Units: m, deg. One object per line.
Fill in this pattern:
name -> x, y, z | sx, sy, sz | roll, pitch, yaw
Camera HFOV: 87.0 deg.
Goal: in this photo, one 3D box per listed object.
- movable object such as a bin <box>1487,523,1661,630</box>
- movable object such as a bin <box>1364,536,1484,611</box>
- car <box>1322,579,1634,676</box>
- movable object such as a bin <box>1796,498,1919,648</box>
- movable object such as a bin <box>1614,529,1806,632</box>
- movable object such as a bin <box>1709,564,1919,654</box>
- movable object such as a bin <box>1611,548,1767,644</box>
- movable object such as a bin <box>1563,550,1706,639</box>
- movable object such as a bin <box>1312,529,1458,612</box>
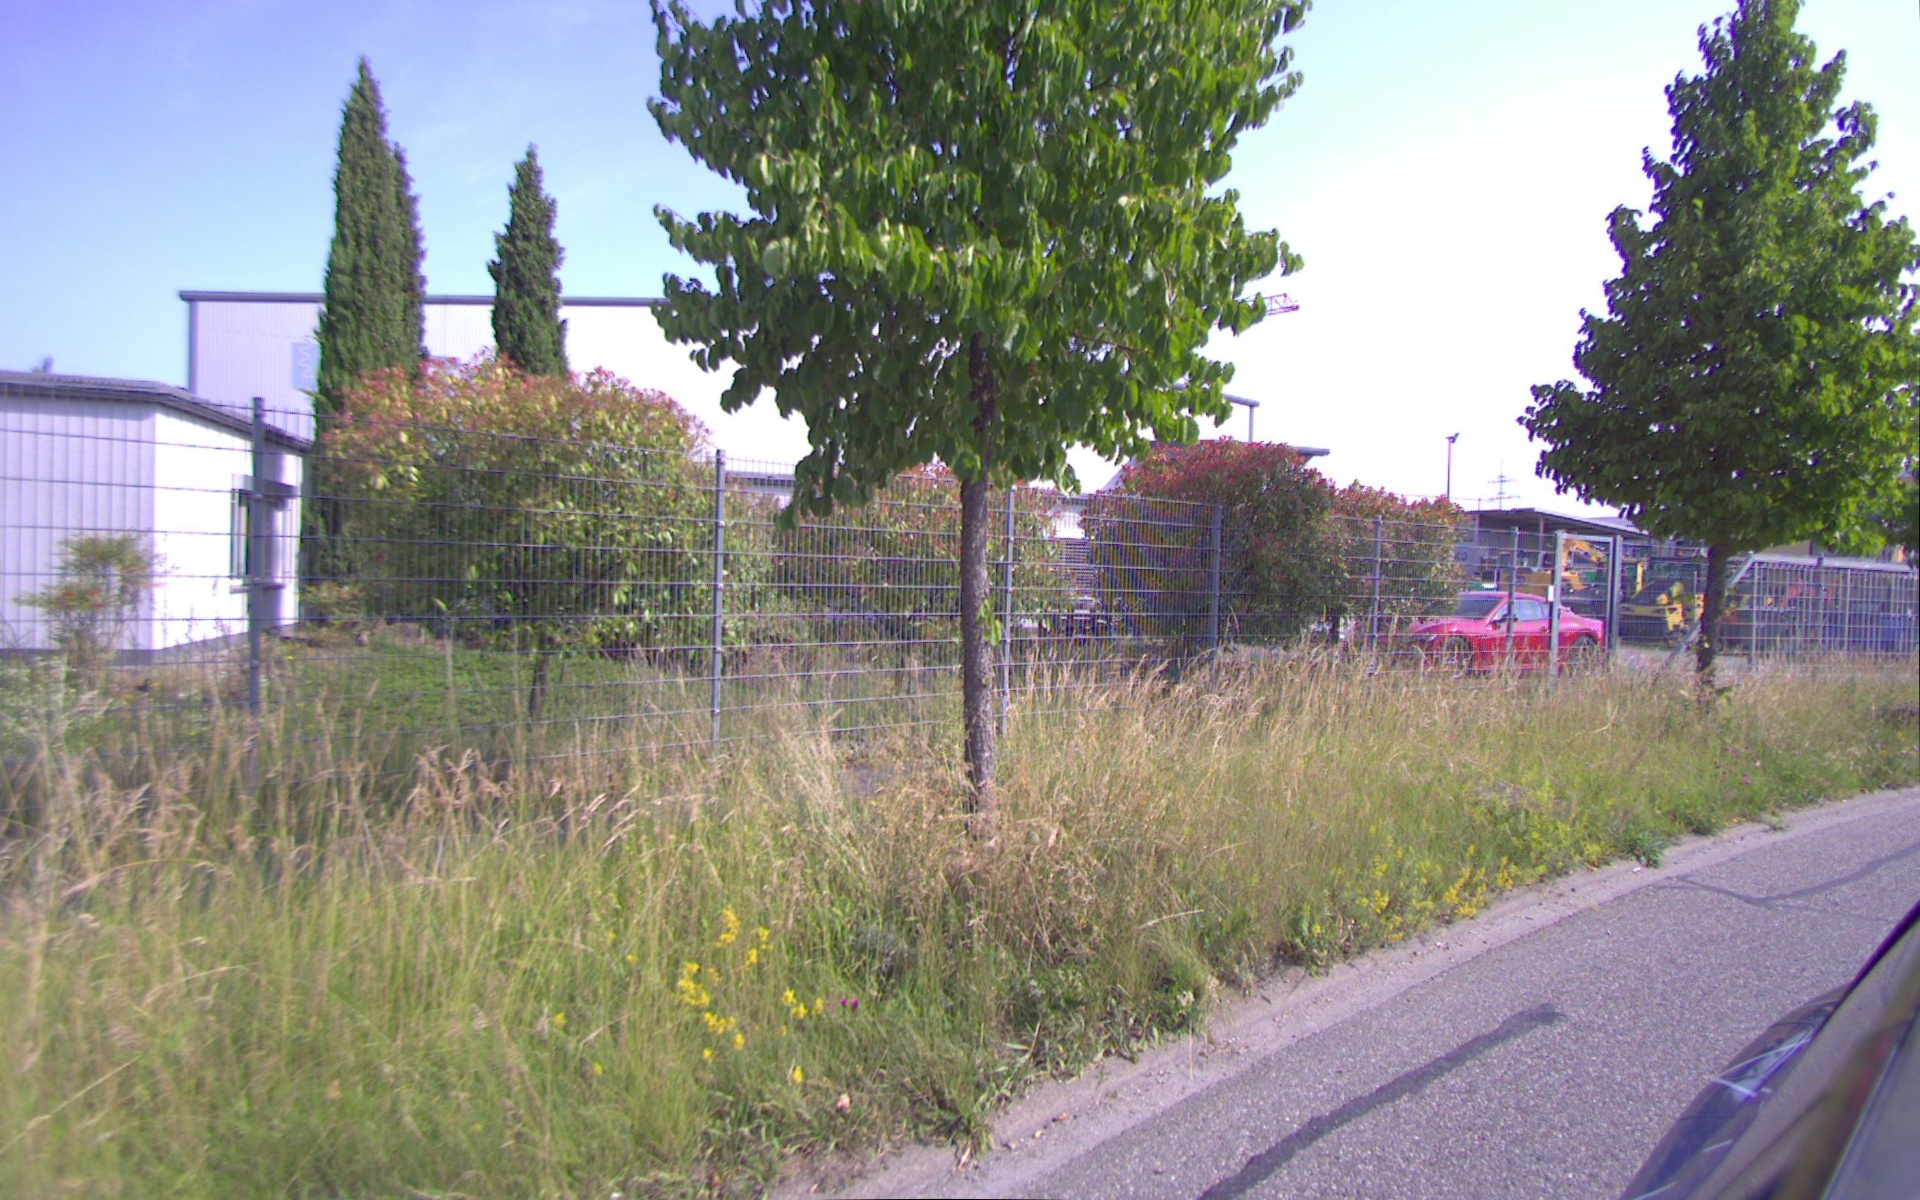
movable object such as a bin -> 24.230, -0.924, 39.994 | 5.597, 3.921, 2.699 | 1, 2, -18
movable object such as a bin -> 26.112, -1.473, 57.015 | 5.897, 3.977, 2.733 | 1, 2, -23
car -> 8.450, 0.438, 16.508 | 4.673, 1.374, 1.891 | 1, 2, -22
movable object such as a bin -> 34.020, -0.847, 35.797 | 7.511, 4.865, 3.335 | 2, 1, -20
movable object such as a bin -> 31.747, -0.806, 42.864 | 7.055, 3.977, 2.935 | 2, 2, -20
movable object such as a bin -> 26.632, 0.258, 31.341 | 5.226, 2.522, 2.939 | 1, 2, -18
movable object such as a bin -> 24.964, -0.146, 34.697 | 4.397, 3.069, 2.004 | 1, 2, -18
movable object such as a bin -> 24.697, -0.210, 37.072 | 4.281, 3.069, 2.004 | 1, 2, -18
movable object such as a bin -> 21.850, -1.485, 52.029 | 7.051, 3.977, 2.480 | 1, 2, -22
